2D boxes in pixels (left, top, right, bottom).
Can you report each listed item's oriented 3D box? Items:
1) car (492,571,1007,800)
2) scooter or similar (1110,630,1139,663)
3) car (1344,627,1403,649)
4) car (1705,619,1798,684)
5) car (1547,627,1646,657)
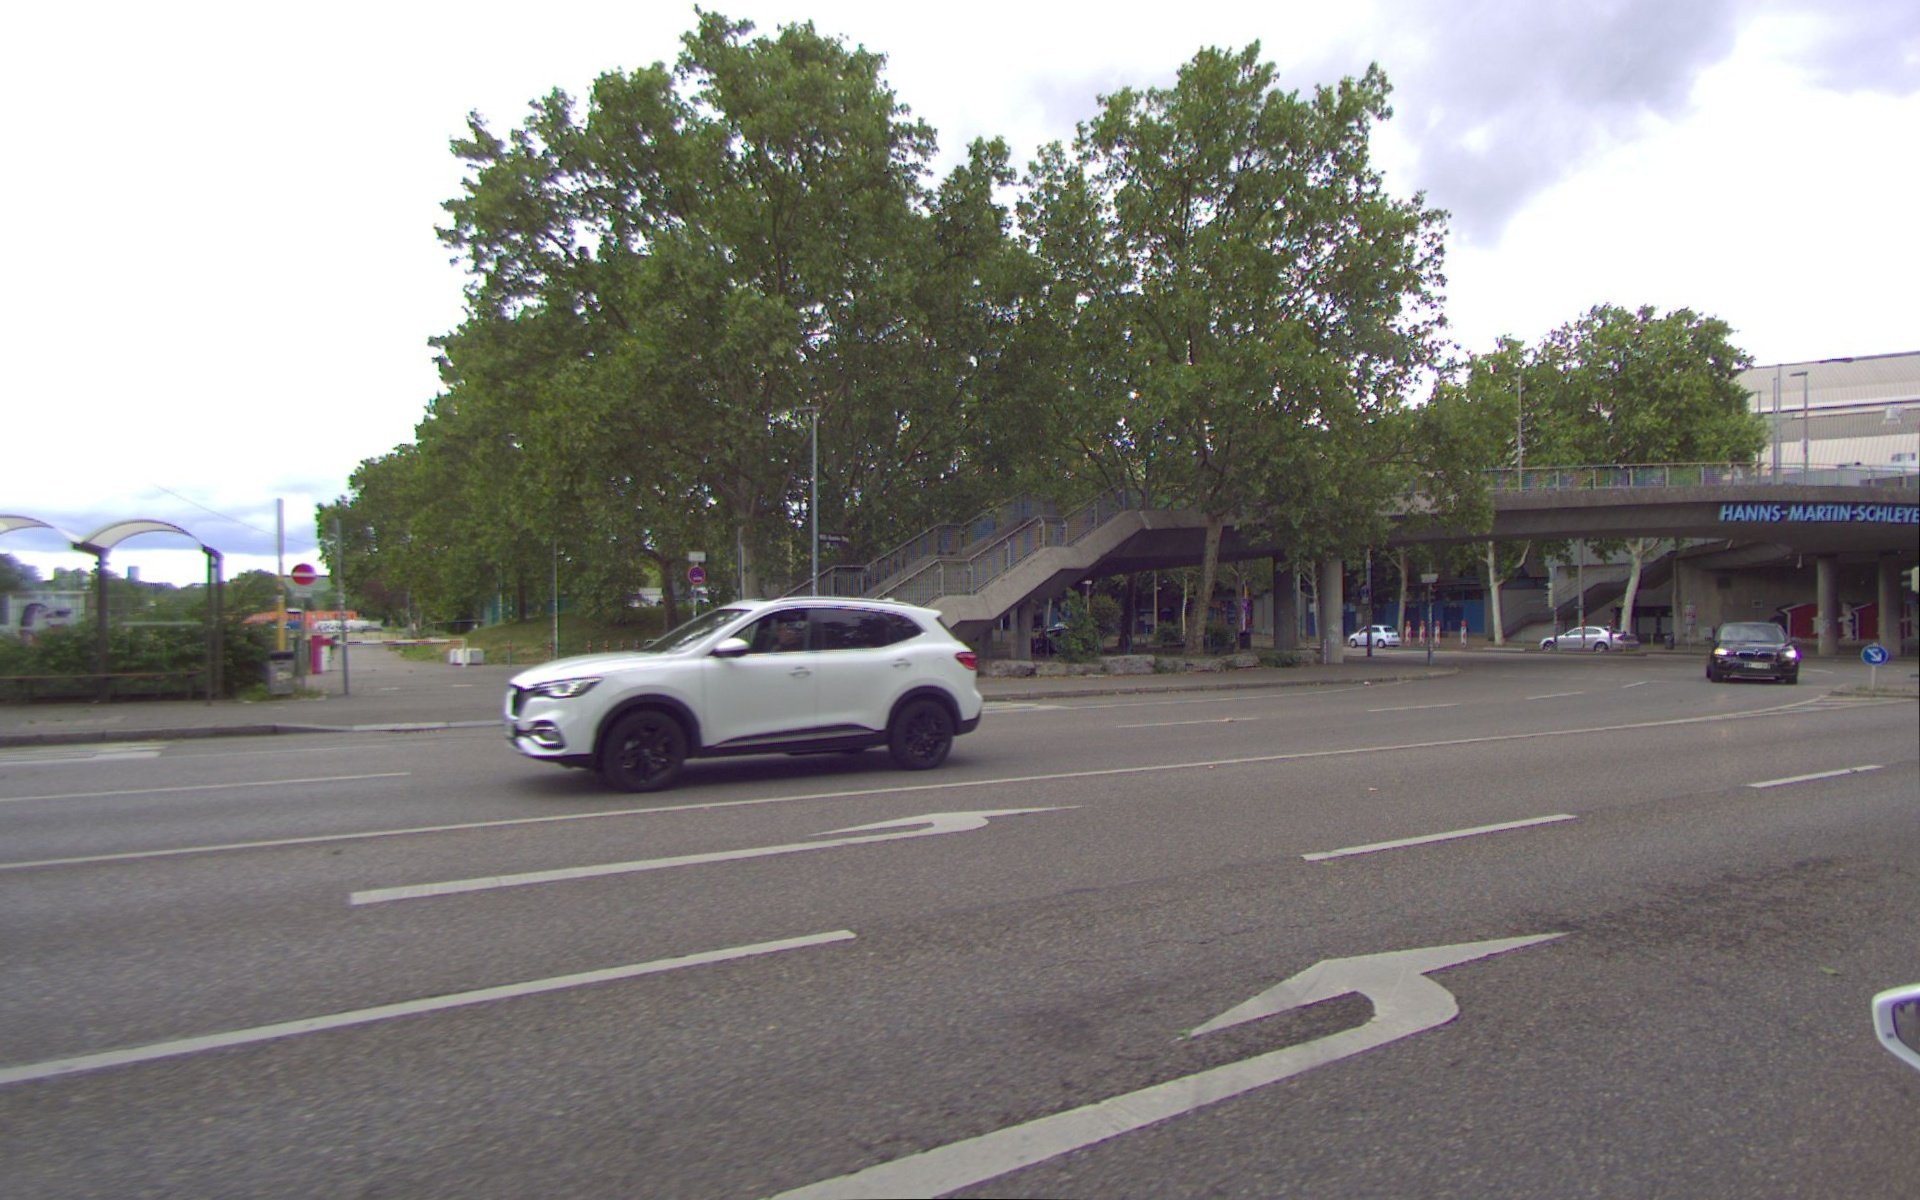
[{"bbox_3d":[-1.950,0.718,9.847,4.547,1.767,1.982,1,-1,-34],"label":"car"},{"bbox_3d":[6.855,1.929,41.841,1.214,1.335,0.414,3,-4,-31],"label":"scooter or similar"},{"bbox_3d":[27.335,2.518,66.497,1.596,1.330,3.369,1,-1,-29],"label":"car"},{"bbox_3d":[21.508,1.373,27.224,1.749,1.627,4.406,-2,-3,41],"label":"car"},{"bbox_3d":[33.658,2.192,53.207,1.976,1.437,3.969,1,-1,-29],"label":"car"}]
